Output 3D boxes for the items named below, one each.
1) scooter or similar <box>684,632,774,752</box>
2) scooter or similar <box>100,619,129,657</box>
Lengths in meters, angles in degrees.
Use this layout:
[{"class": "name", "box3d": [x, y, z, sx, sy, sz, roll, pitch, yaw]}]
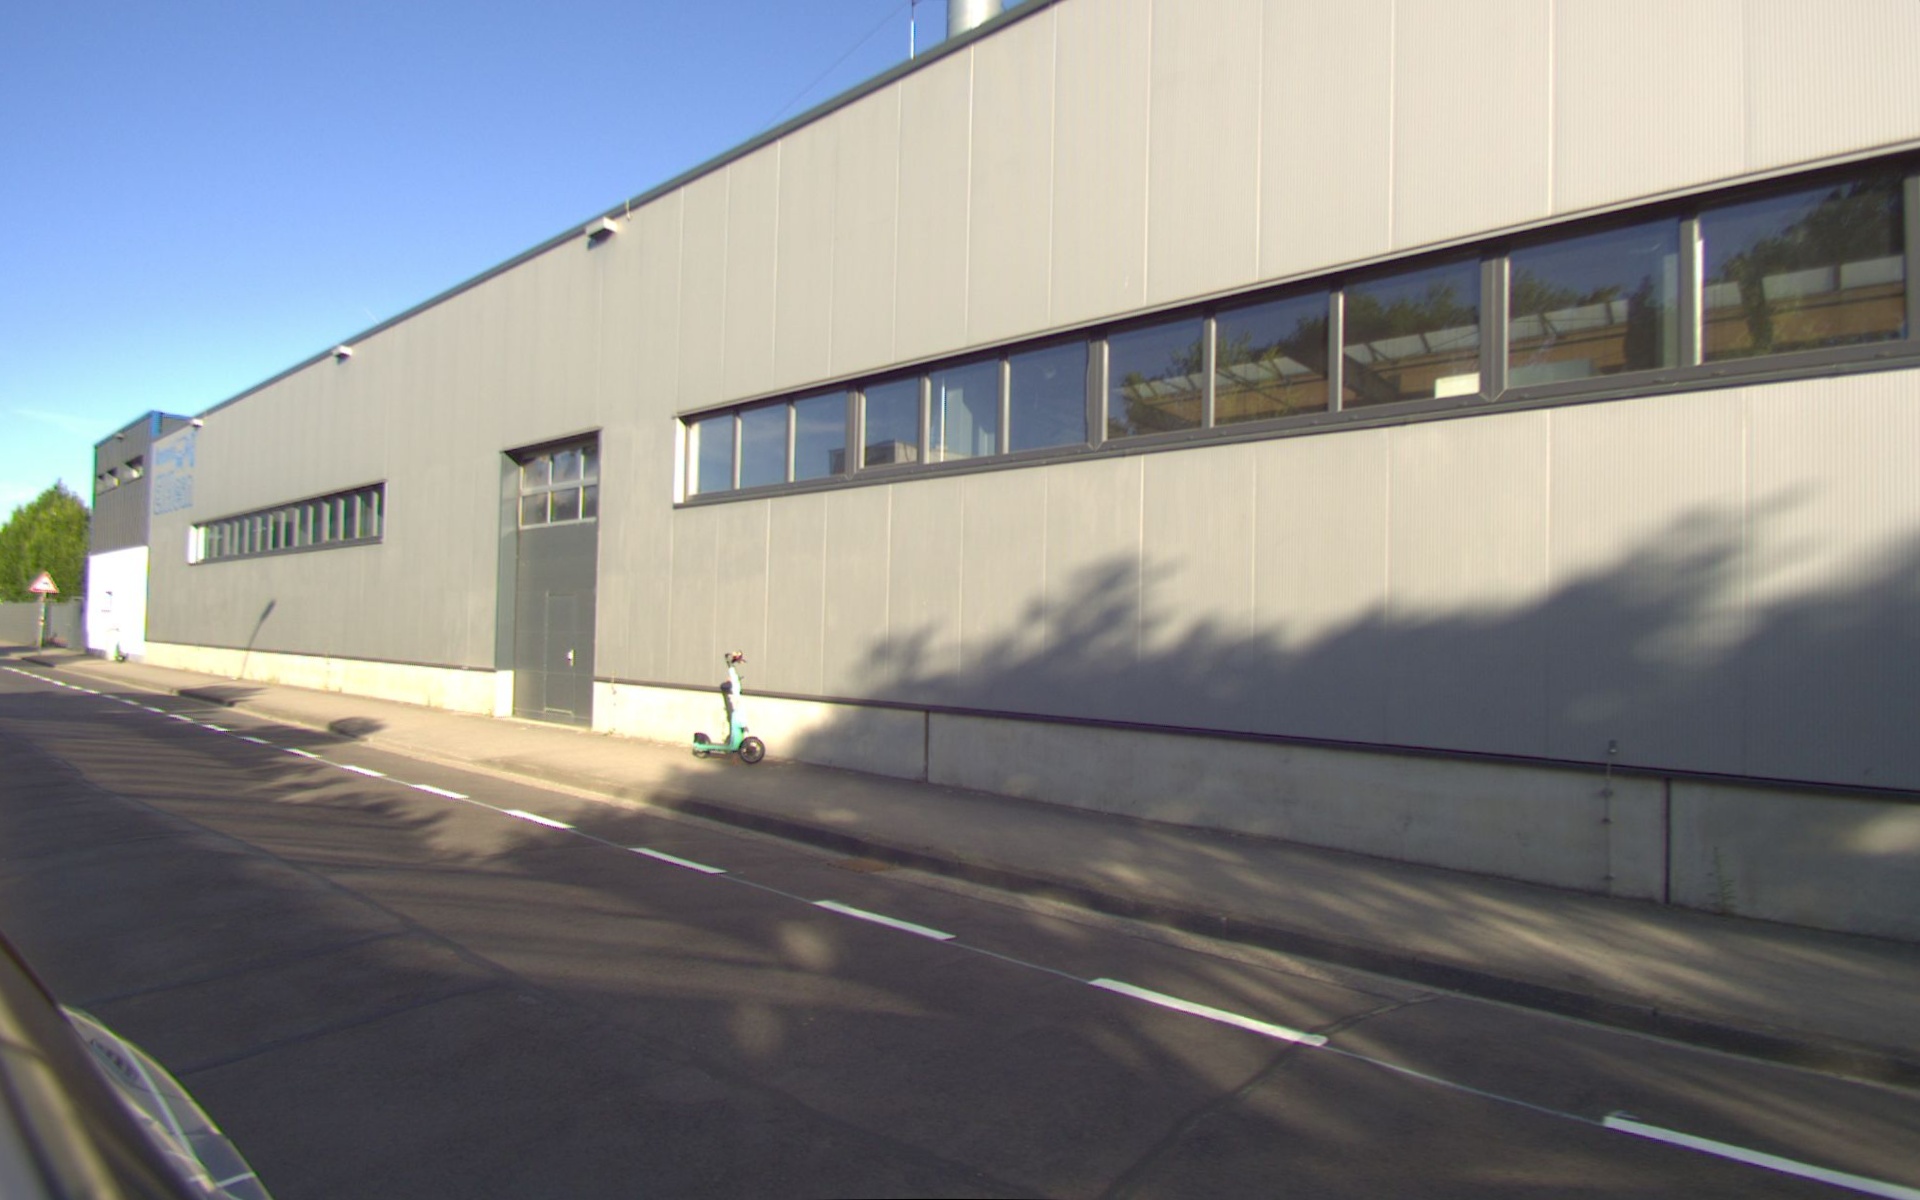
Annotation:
[{"class": "scooter or similar", "box3d": [-2.593, 1.001, 11.322, 1.059, 1.277, 0.412, -1, -3, 41]}, {"class": "scooter or similar", "box3d": [-28.522, 1.271, 34.135, 1.752, 1.212, 0.501, 0, 1, 41]}]
